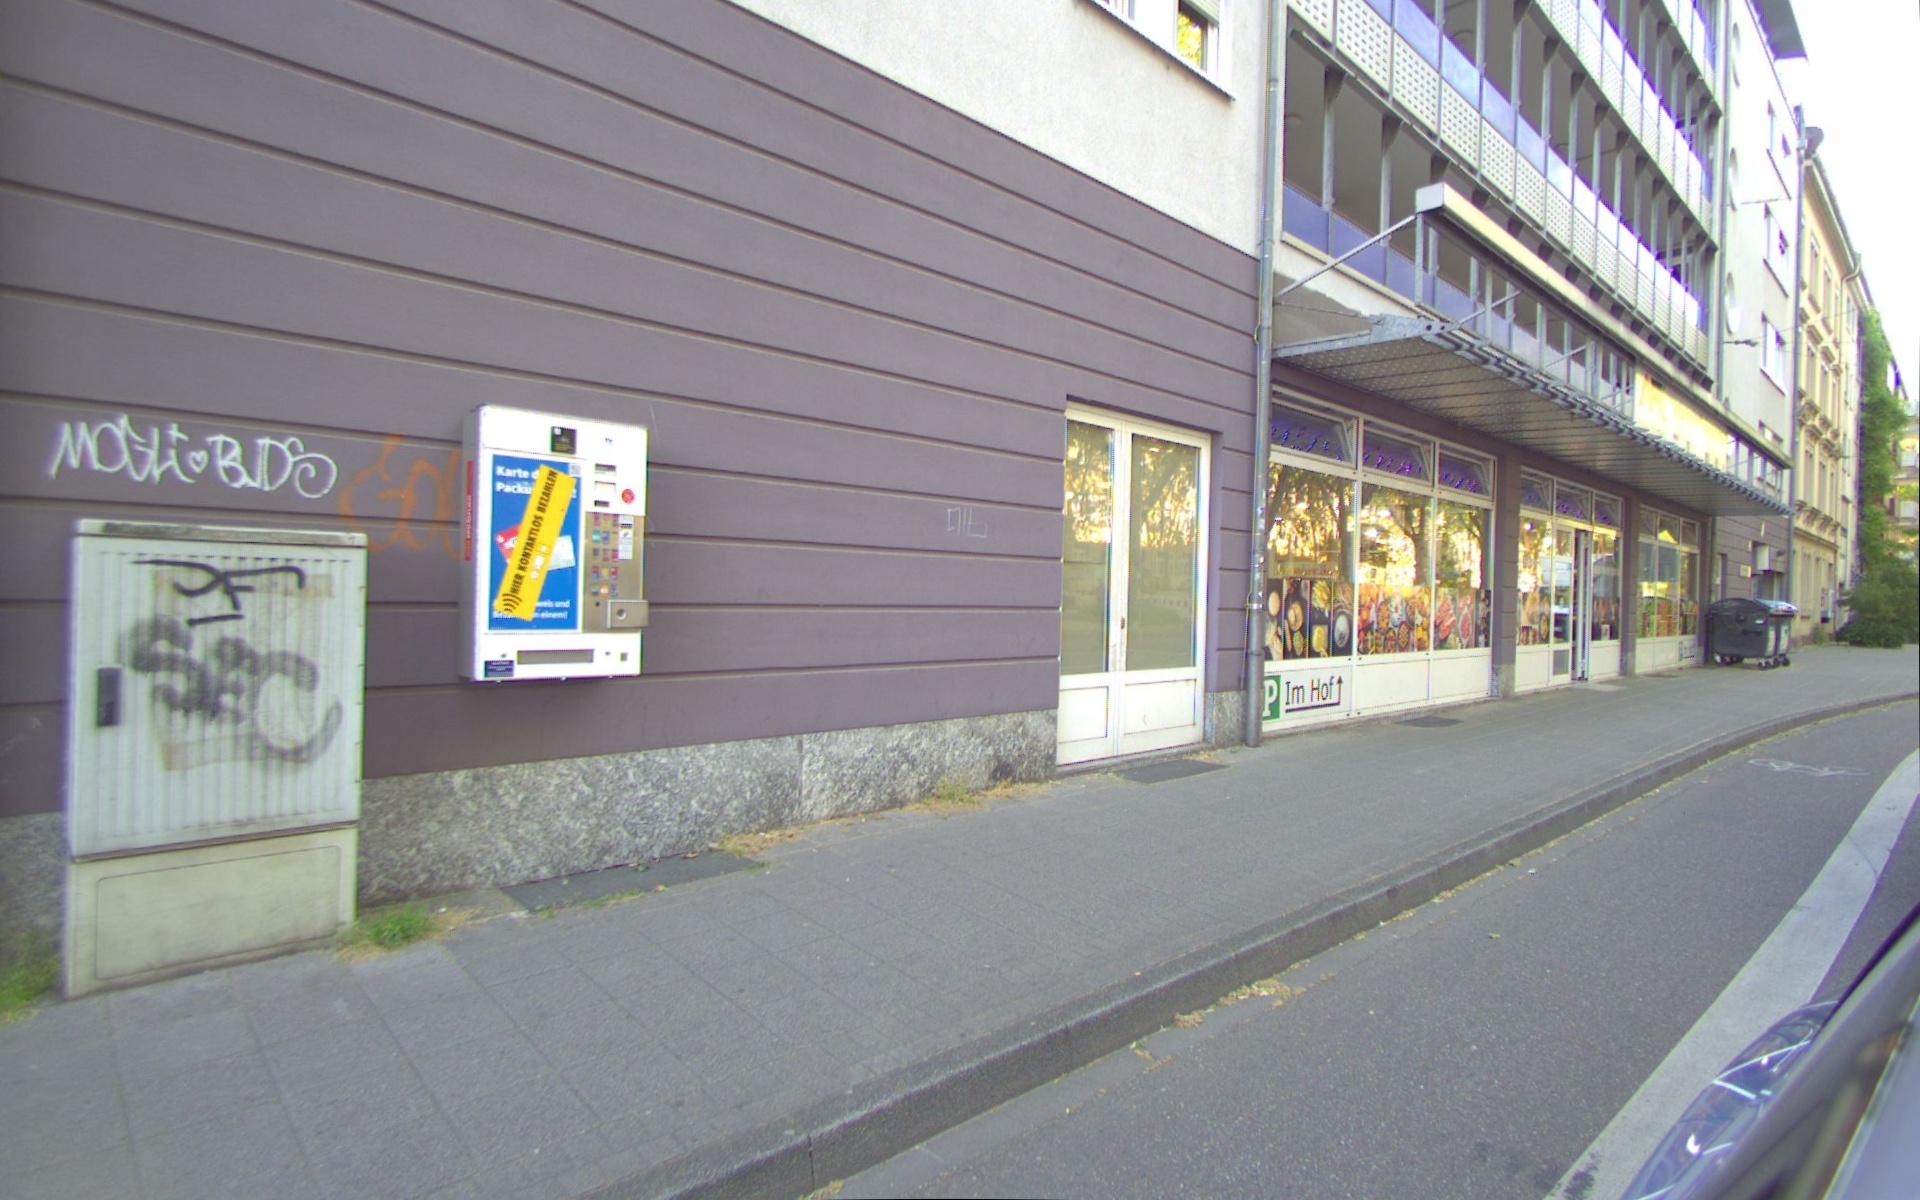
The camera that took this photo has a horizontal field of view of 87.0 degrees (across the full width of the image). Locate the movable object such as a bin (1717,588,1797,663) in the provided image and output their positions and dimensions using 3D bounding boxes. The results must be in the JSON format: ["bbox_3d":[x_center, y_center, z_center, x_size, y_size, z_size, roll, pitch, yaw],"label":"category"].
[{"bbox_3d":[16.440,0.500,20.870,1.274,1.465,1.068,1,1,-42],"label":"movable object such as a bin"}]

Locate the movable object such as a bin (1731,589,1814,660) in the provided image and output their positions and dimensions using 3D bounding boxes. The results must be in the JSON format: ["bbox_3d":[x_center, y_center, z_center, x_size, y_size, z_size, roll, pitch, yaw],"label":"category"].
[{"bbox_3d":[17.789,0.520,22.157,1.282,1.464,1.123,1,1,-38],"label":"movable object such as a bin"}]
